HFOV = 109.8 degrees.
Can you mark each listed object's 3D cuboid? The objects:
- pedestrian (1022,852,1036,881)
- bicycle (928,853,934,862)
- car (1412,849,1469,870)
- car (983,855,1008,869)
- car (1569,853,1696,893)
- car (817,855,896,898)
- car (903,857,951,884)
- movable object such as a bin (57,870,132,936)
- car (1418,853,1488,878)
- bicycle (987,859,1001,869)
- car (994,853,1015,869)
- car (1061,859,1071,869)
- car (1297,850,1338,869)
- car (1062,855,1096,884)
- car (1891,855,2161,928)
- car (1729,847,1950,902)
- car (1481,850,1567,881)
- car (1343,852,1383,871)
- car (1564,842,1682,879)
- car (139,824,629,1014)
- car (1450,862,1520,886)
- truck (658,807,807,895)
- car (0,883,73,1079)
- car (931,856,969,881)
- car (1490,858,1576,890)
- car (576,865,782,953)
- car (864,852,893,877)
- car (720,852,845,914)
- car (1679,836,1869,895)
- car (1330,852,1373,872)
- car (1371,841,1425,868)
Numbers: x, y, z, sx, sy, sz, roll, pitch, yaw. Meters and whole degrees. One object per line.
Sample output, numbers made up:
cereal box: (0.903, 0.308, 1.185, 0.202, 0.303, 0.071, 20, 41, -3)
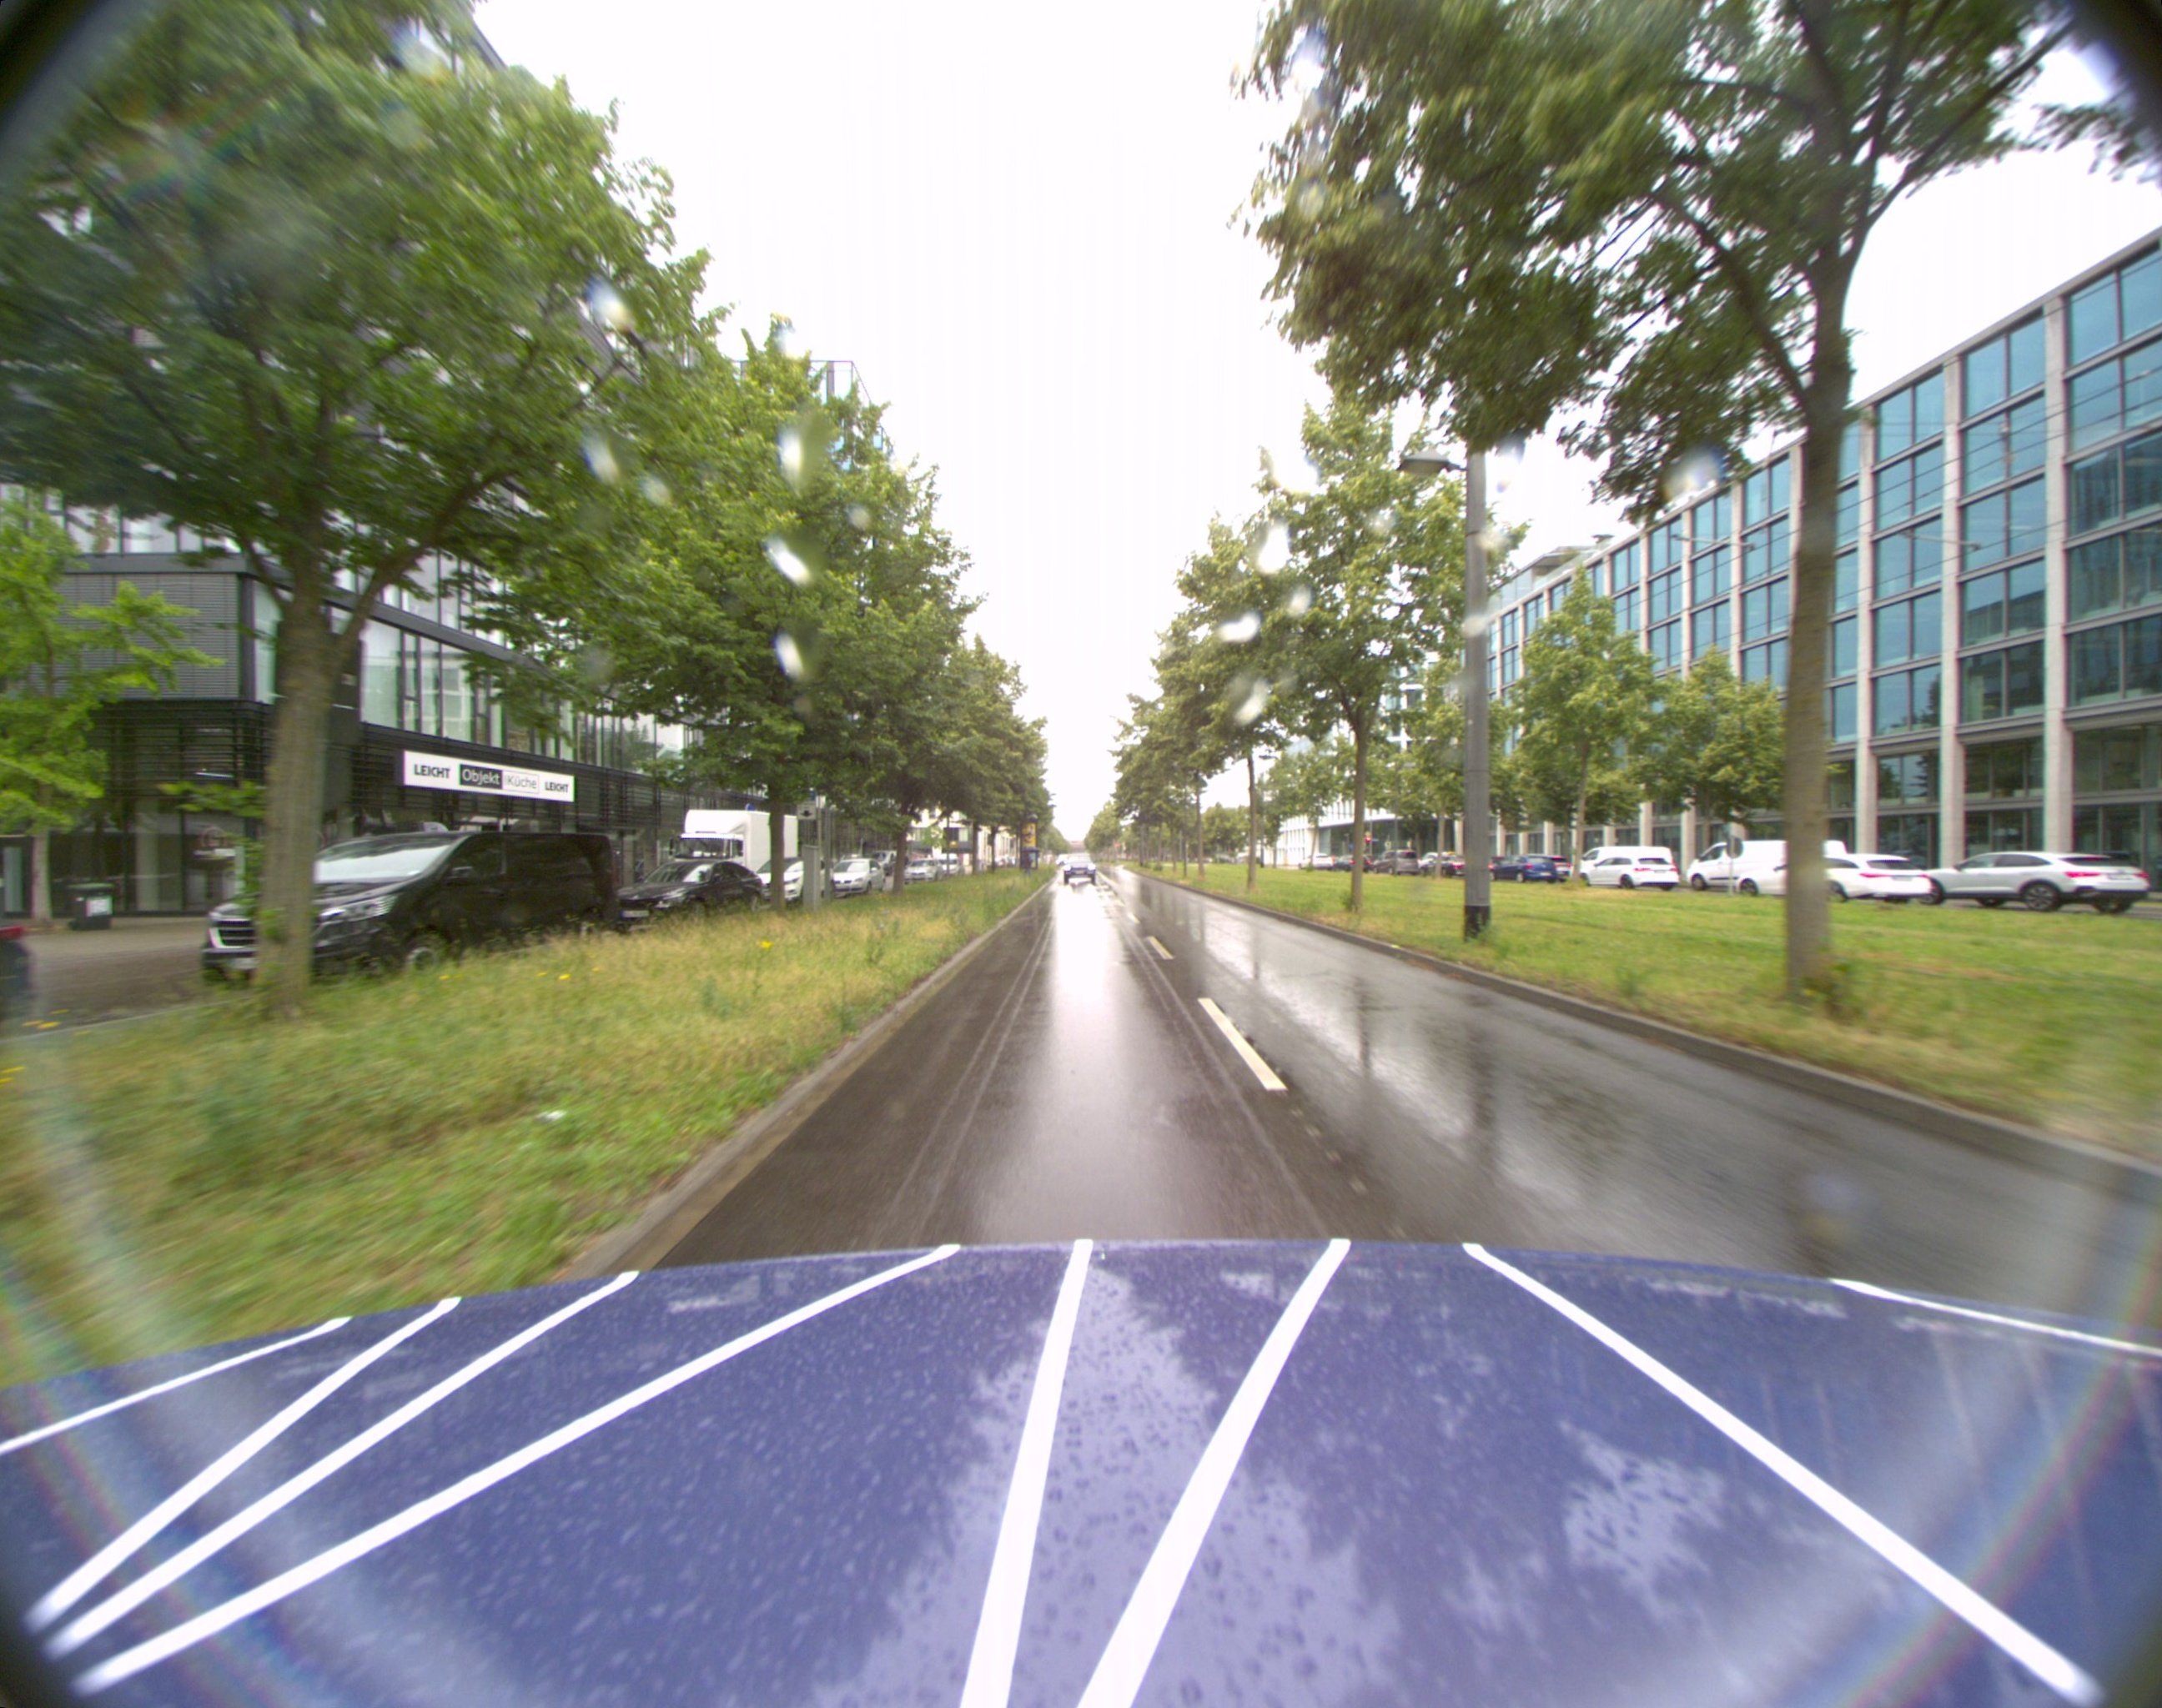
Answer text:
pedestrian: (-2.653, 0.627, 38.809, 0.643, 1.484, 0.700, -1, 1, -2)
bicycle: (-15.911, 0.351, 80.621, 0.437, 0.892, 1.232, 0, -2, -4)
car: (25.935, 0.425, 55.003, 1.956, 1.377, 4.273, 0, -2, -2)
car: (-9.113, 0.835, 81.448, 1.998, 1.446, 4.959, -1, 0, 0)
car: (22.700, 0.721, 31.555, 1.956, 1.504, 4.575, -1, 0, 0)
car: (-8.739, 0.919, 29.981, 1.774, 1.443, 4.724, -4, -2, -2)
car: (-9.012, 0.923, 44.910, 1.999, 1.436, 5.235, -1, 0, -3)
movable object such as a bin: (-19.677, 0.967, 15.164, 0.609, 1.268, 0.648, 0, -2, -4)
car: (22.534, 0.732, 46.198, 1.956, 1.377, 4.606, -1, -2, -1)
bicycle: (-8.442, 1.008, 73.689, 1.458, 0.911, 0.434, -2, -2, 32)
car: (-8.806, 0.829, 87.677, 1.999, 1.697, 4.218, 0, -2, -1)
car: (-2.465, 1.701, 125.030, 1.687, 1.520, 3.969, 0, -2, -2)
car: (19.604, 0.447, 63.120, 1.956, 1.444, 4.575, -1, 0, 0)
car: (-0.050, 0.864, 45.687, 1.928, 1.650, 4.716, 0, 0, 1)
car: (25.315, 0.911, 20.603, 1.955, 1.739, 4.577, -1, 0, 3)
car: (22.379, 0.639, 22.771, 1.955, 1.452, 4.834, -1, -2, 4)
car: (22.540, 0.618, 38.863, 1.956, 1.485, 3.963, 0, -2, -2)
car: (25.642, 0.678, 69.146, 1.956, 1.684, 4.271, 0, 0, -1)
car: (25.855, 0.388, 36.527, 1.956, 1.641, 5.030, 0, -2, -2)
car: (-8.692, 0.757, 10.362, 1.998, 1.940, 5.031, -1, -2, 0)
car: (25.724, 1.289, 48.559, 1.863, 1.437, 4.626, 0, -2, -2)
truck: (-15.201, -0.121, 34.075, 3.033, 3.421, 8.545, -1, 0, -3)
car: (-9.186, 1.007, 4.014, 1.962, 1.504, 4.479, 0, 0, -6)
car: (-8.679, 1.000, 50.627, 1.765, 1.586, 4.101, -1, -2, 0)
car: (25.481, 1.148, 43.028, 1.956, 1.735, 4.634, 0, -2, -2)
car: (-8.844, 1.113, 17.343, 1.998, 1.659, 4.959, -2, -1, 0)
car: (-15.772, 0.789, 59.416, 2.001, 1.909, 5.143, -1, 0, -13)
car: (-9.106, 0.825, 23.703, 1.999, 1.659, 4.723, -2, 0, 0)
car: (25.759, 0.494, 28.623, 2.273, 1.994, 5.375, -1, -2, 1)
car: (22.239, 0.672, 62.693, 1.956, 1.549, 4.464, 0, -1, 0)
car: (22.609, 0.098, 54.356, 1.956, 1.837, 4.543, 0, -1, 0)
